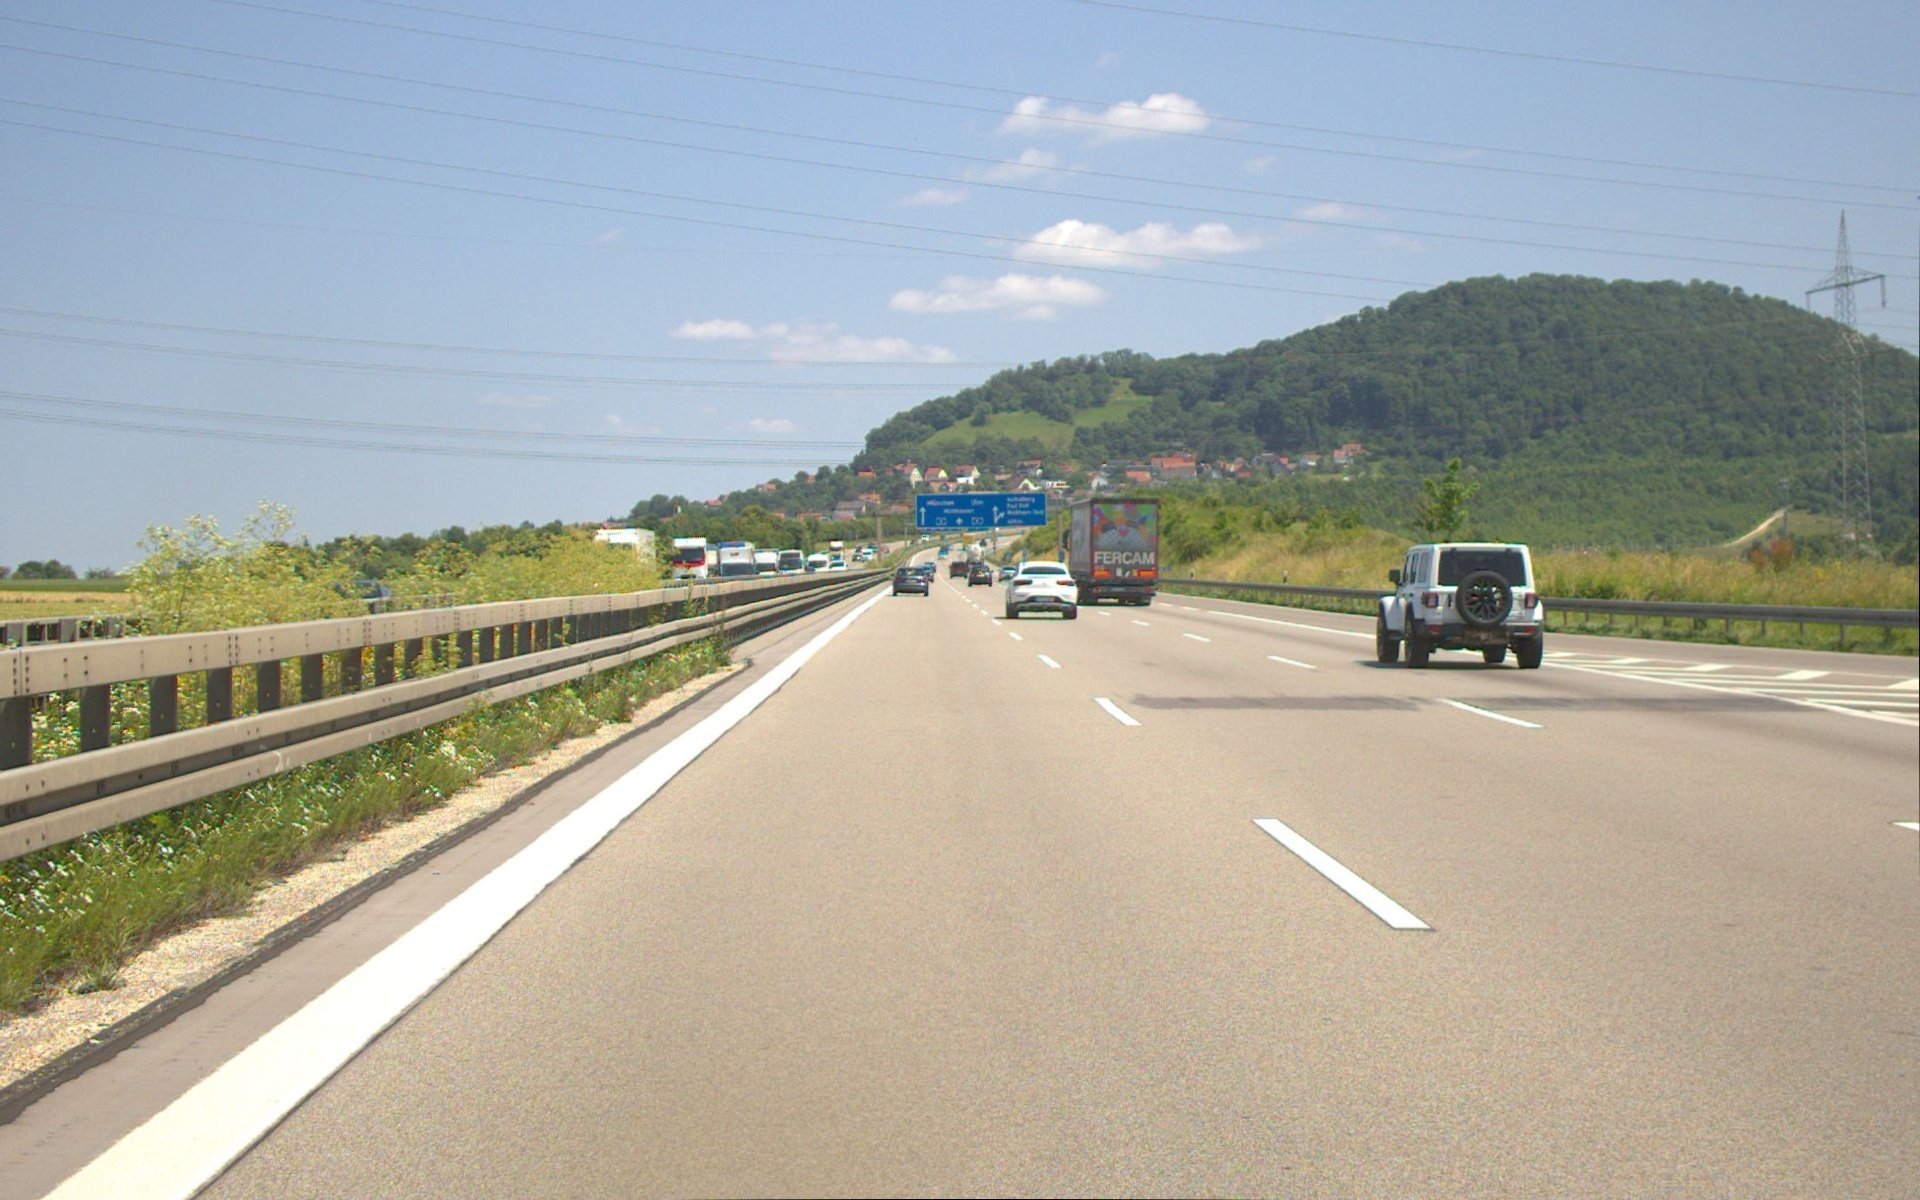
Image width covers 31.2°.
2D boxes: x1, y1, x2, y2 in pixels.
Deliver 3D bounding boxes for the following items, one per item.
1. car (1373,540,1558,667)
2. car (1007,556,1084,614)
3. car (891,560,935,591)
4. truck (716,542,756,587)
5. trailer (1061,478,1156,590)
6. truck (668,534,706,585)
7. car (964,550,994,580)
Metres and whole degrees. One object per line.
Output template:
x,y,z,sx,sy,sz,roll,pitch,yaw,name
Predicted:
7.511,0.023,51.478,2.034,1.798,4.251,-1,1,-1,car
2.367,-0.420,96.538,1.914,1.575,5.231,1,0,-1,car
-2.218,-1.156,162.271,1.993,1.384,4.000,1,0,0,car
-15.572,-2.451,239.622,2.249,2.999,7.428,-2,0,0,truck
5.692,-2.482,133.572,2.725,4.141,11.809,1,0,-2,trailer
-20.213,-2.947,254.387,2.717,3.678,6.057,1,0,-5,truck
1.311,-2.414,238.228,1.993,2.007,4.000,1,0,0,car
